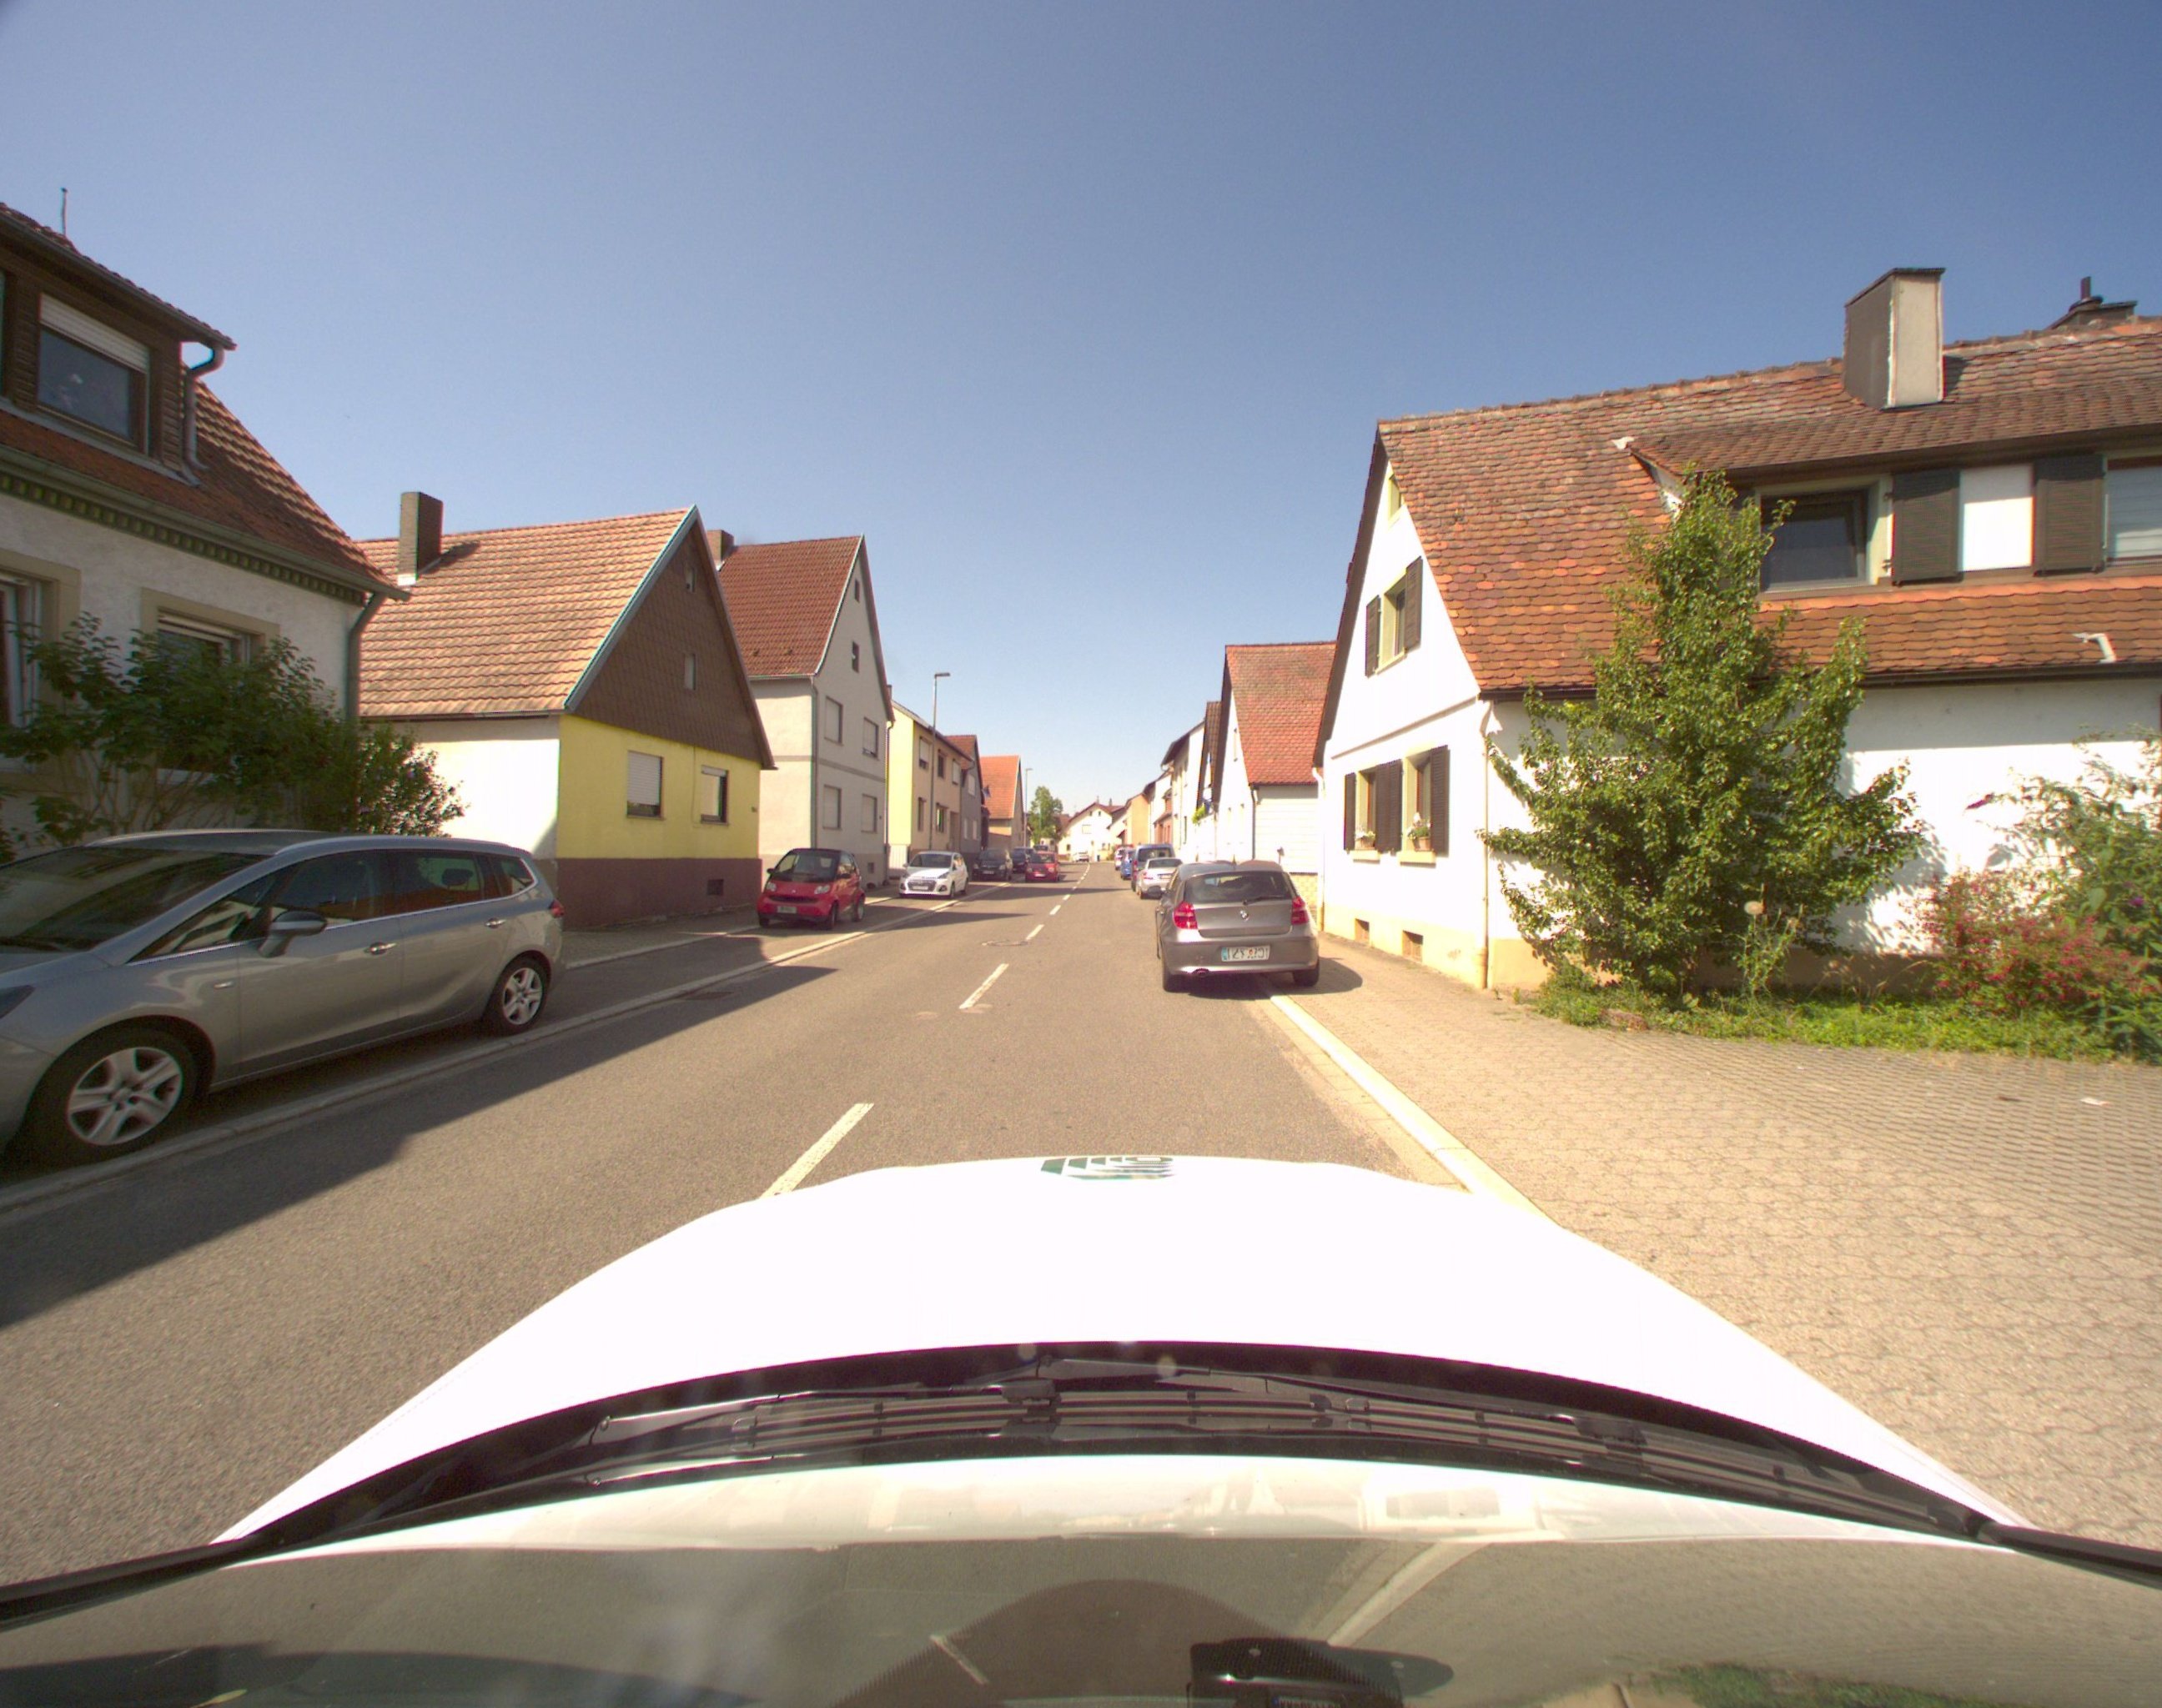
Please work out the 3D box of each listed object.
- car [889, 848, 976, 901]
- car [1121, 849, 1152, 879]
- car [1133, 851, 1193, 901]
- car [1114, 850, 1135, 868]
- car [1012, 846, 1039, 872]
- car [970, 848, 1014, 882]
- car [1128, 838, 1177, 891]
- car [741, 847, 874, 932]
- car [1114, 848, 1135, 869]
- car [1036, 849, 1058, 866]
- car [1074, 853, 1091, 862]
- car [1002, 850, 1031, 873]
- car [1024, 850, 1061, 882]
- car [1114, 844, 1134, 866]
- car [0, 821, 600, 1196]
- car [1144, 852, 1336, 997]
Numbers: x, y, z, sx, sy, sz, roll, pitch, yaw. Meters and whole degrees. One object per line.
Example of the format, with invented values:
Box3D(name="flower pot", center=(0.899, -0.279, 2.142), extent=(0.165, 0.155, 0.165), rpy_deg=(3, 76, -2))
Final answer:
Box3D(name="car", center=(-4.784, 0.629, 26.856), extent=(1.799, 1.548, 4.407), rpy_deg=(2, 0, 3))
Box3D(name="car", center=(2.874, 0.512, 42.795), extent=(1.415, 1.515, 3.304), rpy_deg=(2, 0, 1))
Box3D(name="car", center=(2.645, 0.680, 26.910), extent=(1.698, 1.496, 3.453), rpy_deg=(2, 0, 1))
Box3D(name="car", center=(3.626, 0.436, 68.153), extent=(1.760, 1.433, 3.452), rpy_deg=(0, -1, 2))
Box3D(name="car", center=(-3.837, 0.337, 56.891), extent=(1.522, 1.713, 3.626), rpy_deg=(2, 0, 1))
Box3D(name="car", center=(-4.307, 0.522, 40.070), extent=(1.613, 1.577, 3.962), rpy_deg=(2, 0, 1))
Box3D(name="car", center=(2.727, 0.403, 31.714), extent=(1.643, 1.910, 3.626), rpy_deg=(2, 0, 1))
Box3D(name="car", center=(-5.499, 0.669, 16.714), extent=(1.546, 1.544, 2.990), rpy_deg=(2, 0, 3))
Box3D(name="car", center=(3.199, 0.313, 60.366), extent=(1.415, 1.515, 3.304), rpy_deg=(2, 0, 1))
Box3D(name="car", center=(-3.191, 0.352, 77.287), extent=(1.748, 1.624, 4.001), rpy_deg=(0, -1, 1))
Box3D(name="car", center=(0.136, 0.512, 114.542), extent=(1.991, 1.288, 3.992), rpy_deg=(0, -1, -6))
Box3D(name="car", center=(-4.104, 0.467, 52.202), extent=(1.498, 1.453, 3.510), rpy_deg=(0, -1, 2))
Box3D(name="car", center=(-1.885, 0.572, 40.737), extent=(1.595, 1.489, 3.626), rpy_deg=(2, 0, 1))
Box3D(name="car", center=(3.894, 0.094, 73.568), extent=(1.760, 2.004, 3.452), rpy_deg=(0, -1, 2))
Box3D(name="car", center=(-5.531, 0.654, 5.215), extent=(1.865, 1.636, 4.668), rpy_deg=(2, 0, 3))
Box3D(name="car", center=(1.769, 0.726, 10.238), extent=(1.698, 1.433, 3.890), rpy_deg=(-1, 0, 1))
